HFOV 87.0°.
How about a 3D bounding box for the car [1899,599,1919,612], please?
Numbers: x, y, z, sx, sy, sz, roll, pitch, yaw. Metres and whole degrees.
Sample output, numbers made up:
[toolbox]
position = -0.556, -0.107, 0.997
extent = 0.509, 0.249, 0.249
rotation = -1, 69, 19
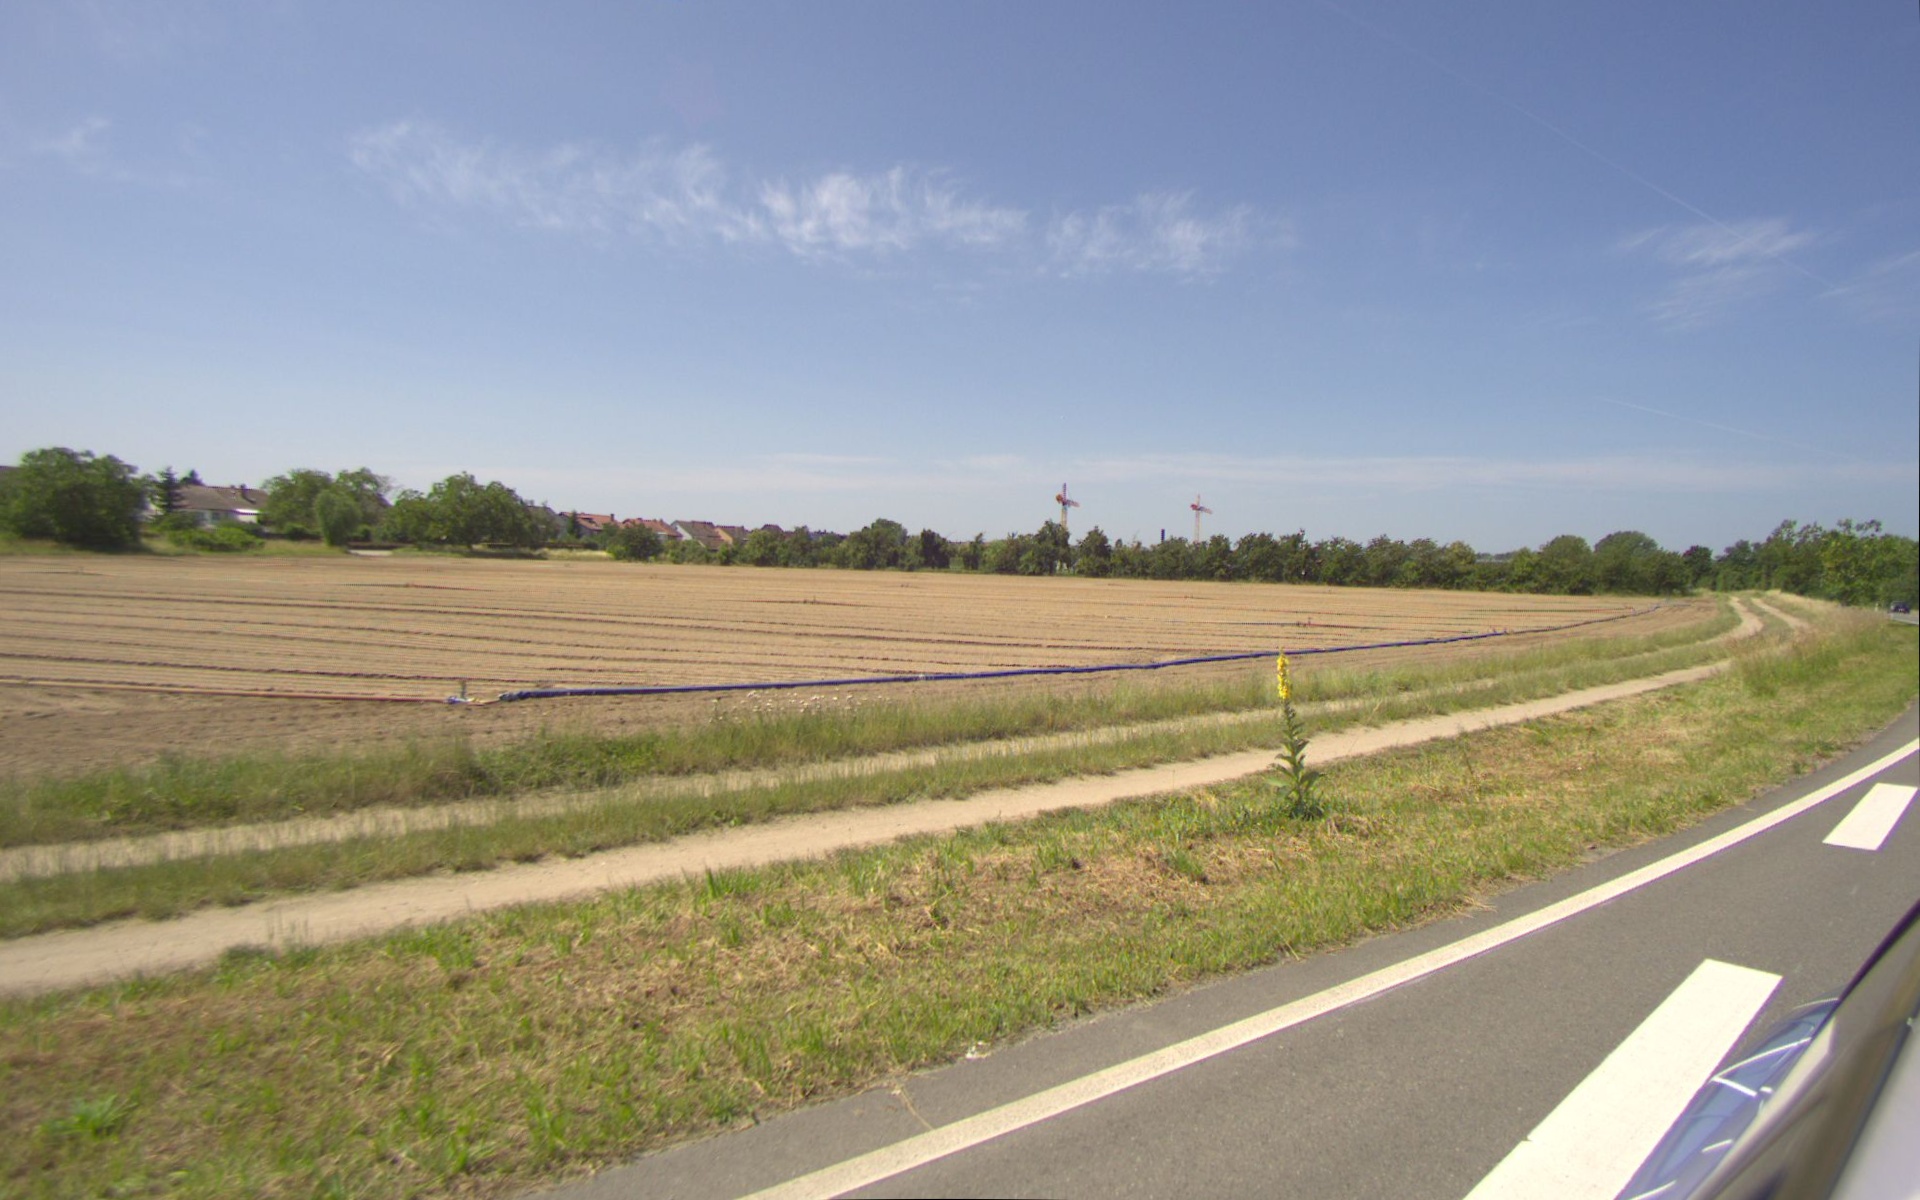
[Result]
[car]
position = 111.677, 0.656, 118.806
extent = 1.689, 1.379, 3.774
rotation = 1, 1, 38
